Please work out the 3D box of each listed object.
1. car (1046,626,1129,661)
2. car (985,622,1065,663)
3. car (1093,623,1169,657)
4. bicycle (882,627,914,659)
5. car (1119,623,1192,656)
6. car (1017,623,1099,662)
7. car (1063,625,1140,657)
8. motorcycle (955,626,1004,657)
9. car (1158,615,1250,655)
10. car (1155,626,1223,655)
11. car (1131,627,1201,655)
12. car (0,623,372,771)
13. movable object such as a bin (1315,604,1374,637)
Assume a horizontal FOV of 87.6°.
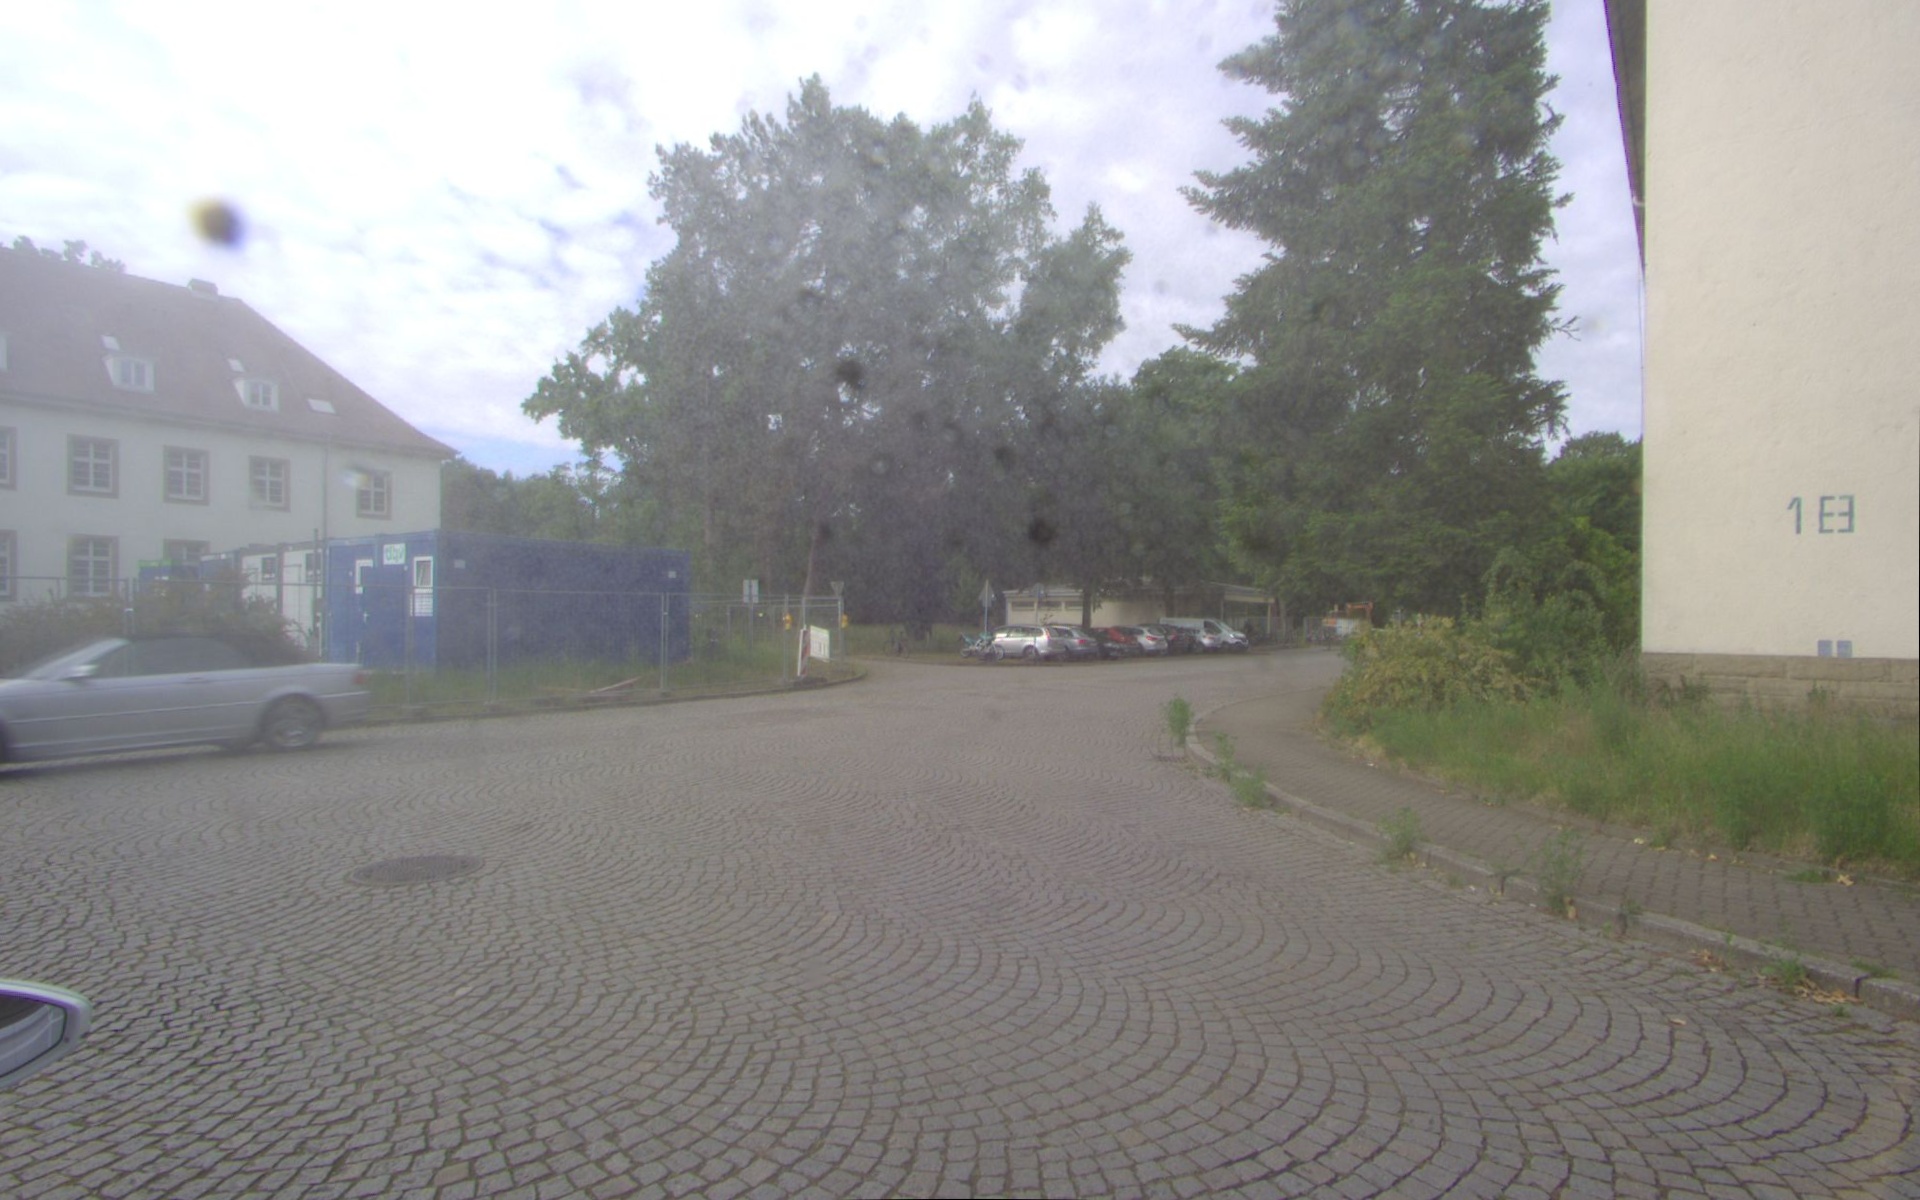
[{"bbox_3d":[5.761,1.936,45.138,3.313,1.338,1.635,2,0,28],"label":"car"},{"bbox_3d":[2.662,1.702,41.106,2.978,1.508,1.318,2,0,28],"label":"car"},{"bbox_3d":[8.378,1.944,49.134,3.314,1.462,1.559,2,0,29],"label":"car"},{"bbox_3d":[-2.395,1.640,38.400,0.507,1.182,1.795,0,-1,-30],"label":"bicycle"},{"bbox_3d":[10.039,2.002,51.535,3.317,1.533,1.558,2,0,32],"label":"car"},{"bbox_3d":[4.182,1.802,42.845,3.171,1.467,1.384,2,0,28],"label":"car"},{"bbox_3d":[6.731,1.938,47.811,3.320,1.379,1.439,2,0,36],"label":"car"},{"bbox_3d":[0.764,1.635,39.537,1.936,1.180,0.516,0,-1,31],"label":"motorcycle"},{"bbox_3d":[14.095,1.990,57.949,4.892,2.017,1.687,2,0,37],"label":"car"},{"bbox_3d":[12.726,2.216,55.620,3.317,1.425,1.558,2,0,32],"label":"car"},{"bbox_3d":[11.028,2.171,53.704,3.317,1.336,1.467,2,0,32],"label":"car"},{"bbox_3d":[-8.842,0.974,10.584,1.586,1.362,4.270,-5,-4,34],"label":"car"},{"bbox_3d":[38.932,2.066,101.525,5.214,3.315,2.000,0,-1,6],"label":"movable object such as a bin"}]
